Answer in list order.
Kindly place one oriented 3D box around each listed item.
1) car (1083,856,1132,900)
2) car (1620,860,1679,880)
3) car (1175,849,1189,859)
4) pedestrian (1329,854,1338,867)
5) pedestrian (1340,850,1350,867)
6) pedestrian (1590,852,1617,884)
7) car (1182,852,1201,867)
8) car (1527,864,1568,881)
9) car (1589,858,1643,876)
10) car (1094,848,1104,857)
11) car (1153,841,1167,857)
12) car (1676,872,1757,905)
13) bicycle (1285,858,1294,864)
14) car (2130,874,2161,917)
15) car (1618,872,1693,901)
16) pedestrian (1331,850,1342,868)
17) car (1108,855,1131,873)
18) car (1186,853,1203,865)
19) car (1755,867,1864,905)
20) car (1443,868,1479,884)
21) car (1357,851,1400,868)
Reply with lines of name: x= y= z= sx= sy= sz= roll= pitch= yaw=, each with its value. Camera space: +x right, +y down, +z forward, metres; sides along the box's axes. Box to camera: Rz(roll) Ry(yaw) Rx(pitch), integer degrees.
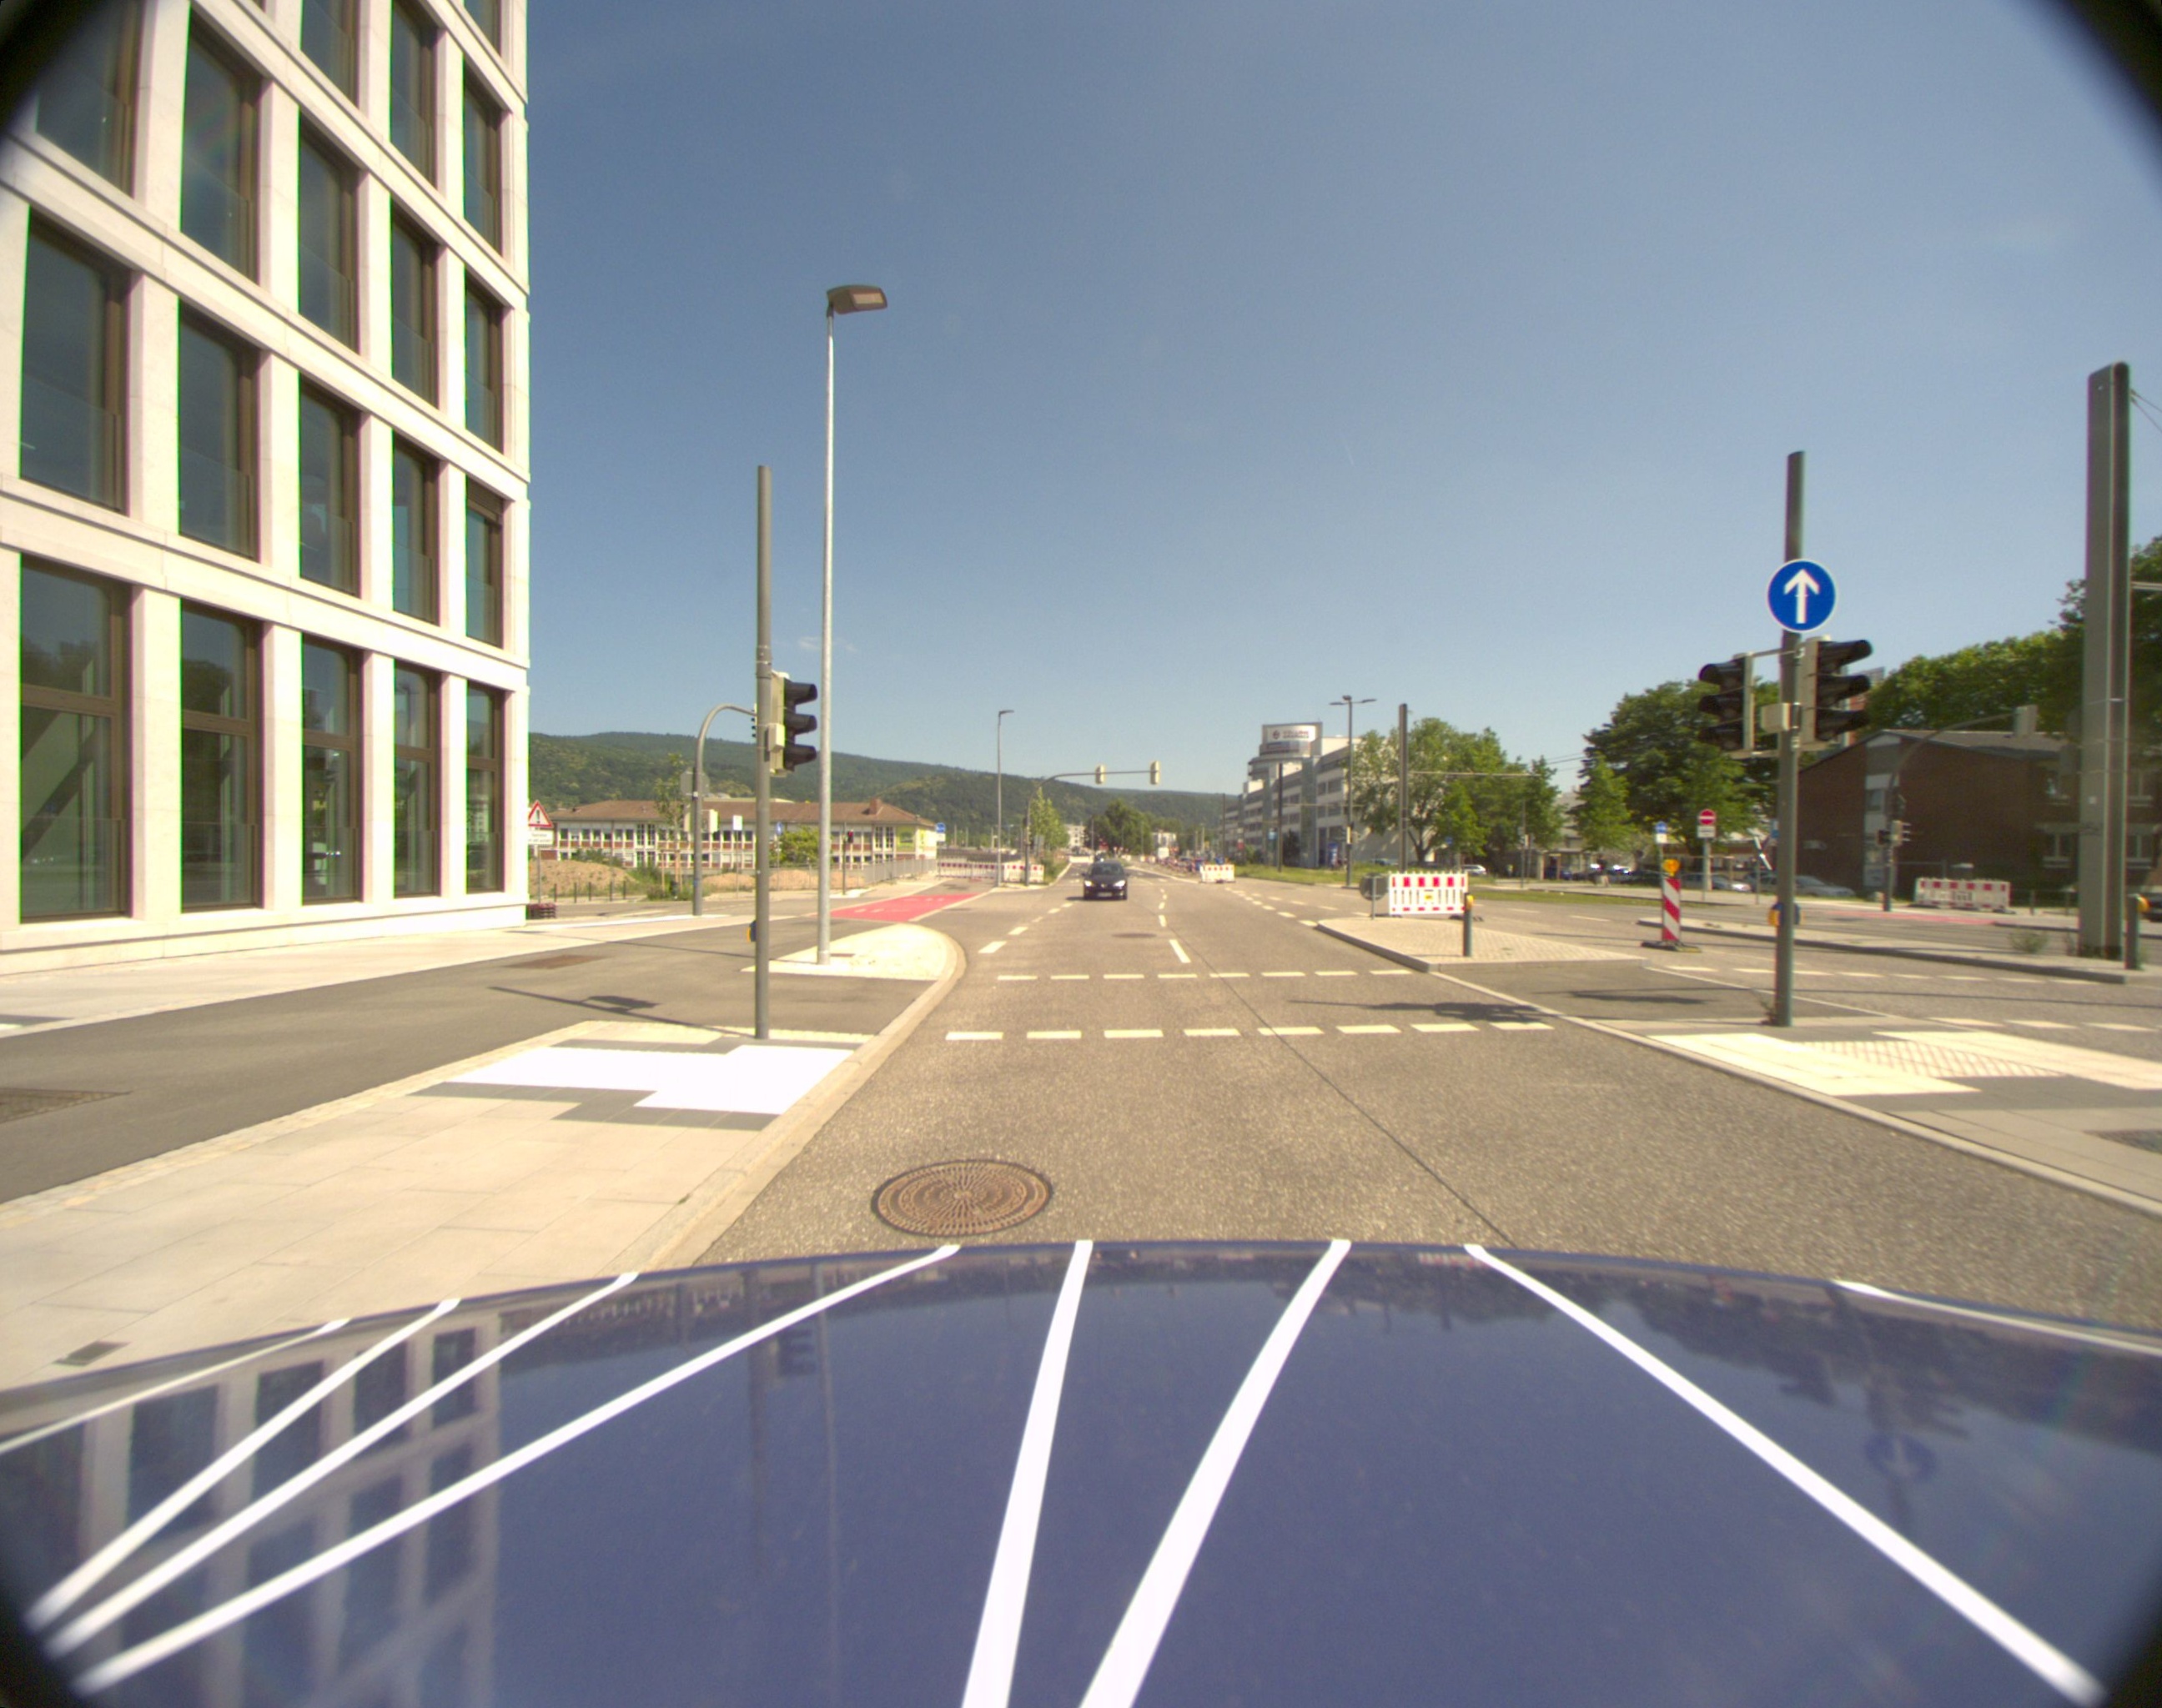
car: x=0.912 y=0.835 z=28.169 sx=1.618 sy=1.433 sz=3.706 roll=1 pitch=1 yaw=-1
car: x=44.228 y=1.215 z=59.209 sx=1.543 sy=1.449 sz=3.786 roll=1 pitch=1 yaw=-4
car: x=16.017 y=-0.006 z=120.508 sx=1.677 sy=1.435 sz=4.469 roll=3 pitch=1 yaw=2
pedestrian: x=30.941 y=0.826 z=93.049 sx=0.816 sy=1.567 sz=0.827 roll=0 pitch=1 yaw=5
pedestrian: x=30.505 y=0.537 z=87.820 sx=0.841 sy=2.002 sz=0.983 roll=0 pitch=1 yaw=3
pedestrian: x=30.804 y=0.833 z=44.805 sx=0.813 sy=1.836 sz=1.108 roll=1 pitch=1 yaw=6
car: x=11.844 y=0.540 z=81.836 sx=1.631 sy=1.419 sz=4.290 roll=-2 pitch=1 yaw=4
car: x=47.810 y=1.902 z=77.891 sx=1.773 sy=1.581 sz=3.636 roll=-1 pitch=0 yaw=-5
car: x=45.206 y=1.036 z=64.329 sx=1.542 sy=1.448 sz=4.267 roll=1 pitch=0 yaw=0
car: x=2.888 y=-0.317 z=124.423 sx=1.618 sy=1.433 sz=3.768 roll=0 pitch=1 yaw=1
car: x=14.504 y=-0.974 z=139.673 sx=2.082 sy=2.724 sz=5.986 roll=3 pitch=1 yaw=1
car: x=38.817 y=2.081 z=46.537 sx=1.702 sy=1.751 sz=3.939 roll=1 pitch=1 yaw=1
bicycle: x=39.742 y=1.311 z=144.846 sx=1.650 sy=1.182 sz=0.438 roll=0 pitch=1 yaw=6
car: x=35.769 y=1.322 z=23.862 sx=3.487 sy=1.362 sz=1.573 roll=0 pitch=0 yaw=-1
car: x=39.252 y=2.177 z=52.071 sx=1.702 sy=1.751 sz=4.530 roll=1 pitch=1 yaw=1
pedestrian: x=29.478 y=0.583 z=87.823 sx=0.985 sy=2.002 sz=0.910 roll=0 pitch=1 yaw=3
car: x=3.068 y=0.783 z=61.302 sx=1.618 sy=1.433 sz=3.768 roll=1 pitch=0 yaw=0
car: x=14.543 y=0.673 z=97.388 sx=1.584 sy=1.408 sz=4.296 roll=2 pitch=1 yaw=1
car: x=38.892 y=1.659 z=40.724 sx=1.702 sy=1.751 sz=4.300 roll=1 pitch=1 yaw=1
car: x=40.218 y=2.288 z=80.576 sx=1.773 sy=1.581 sz=3.636 roll=-1 pitch=0 yaw=-5
car: x=39.698 y=0.714 z=101.491 sx=5.062 sy=2.167 sz=2.118 roll=1 pitch=1 yaw=27
